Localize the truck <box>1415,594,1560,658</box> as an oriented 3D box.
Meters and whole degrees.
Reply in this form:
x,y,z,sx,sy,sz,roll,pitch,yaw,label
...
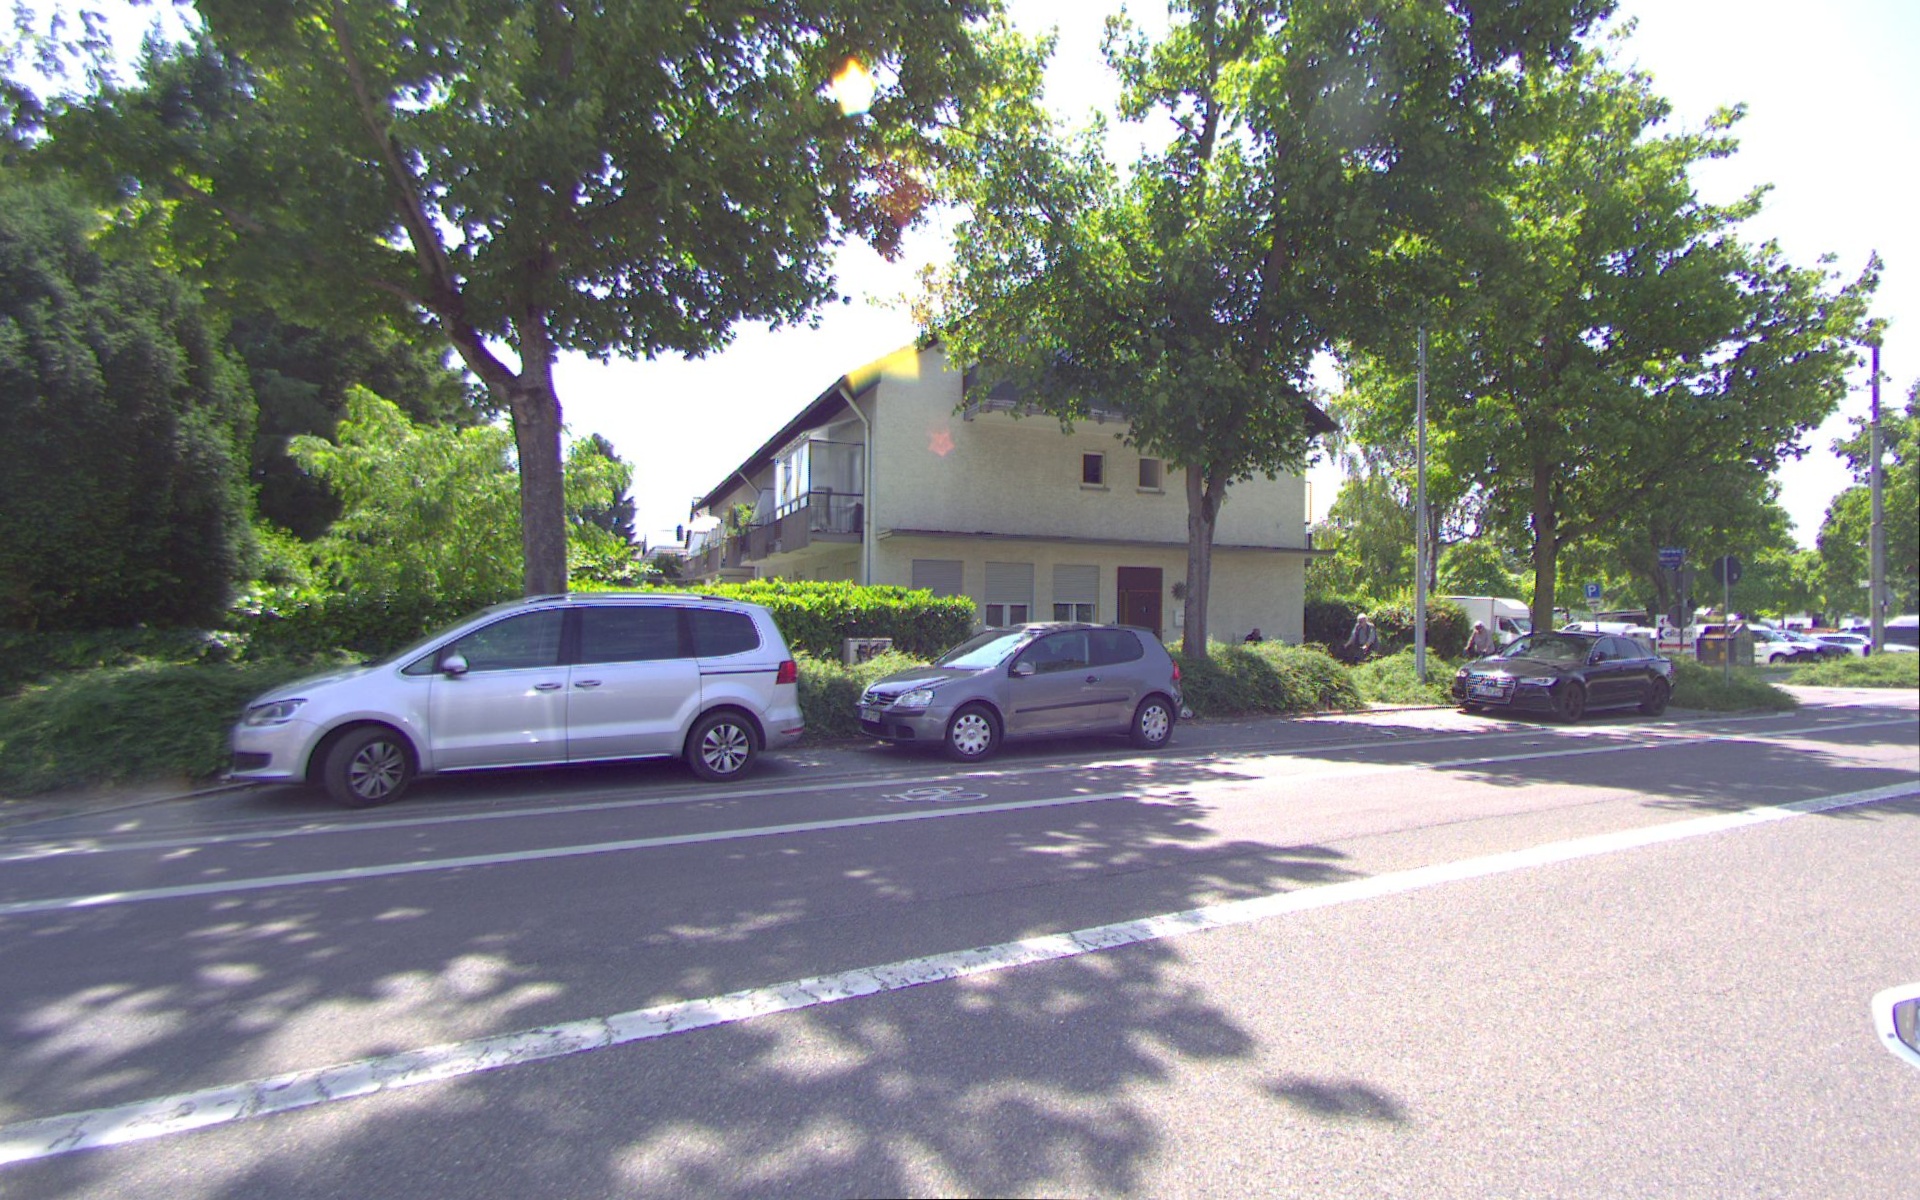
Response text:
x,y,z,sx,sy,sz,roll,pitch,yaw,label
28.597,1.350,54.815,2.126,3.270,6.942,1,0,-31,truck

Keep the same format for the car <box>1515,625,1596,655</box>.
x,y,z,sx,sy,sz,roll,pitch,yaw,label
34.950,2.315,59.028,1.712,1.597,3.729,1,0,-30,car

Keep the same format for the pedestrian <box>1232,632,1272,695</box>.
x,y,z,sx,sy,sz,roll,pitch,yaw,label
7.342,1.582,25.242,0.599,1.530,0.792,1,-1,-23,pedestrian

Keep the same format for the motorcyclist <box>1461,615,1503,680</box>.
x,y,z,sx,sy,sz,roll,pitch,yaw,label
12.691,1.147,24.440,0.654,1.523,0.584,1,2,-29,motorcyclist

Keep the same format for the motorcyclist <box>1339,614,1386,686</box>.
x,y,z,sx,sy,sz,roll,pitch,yaw,label
8.935,1.098,22.298,0.716,1.523,0.584,1,2,-29,motorcyclist

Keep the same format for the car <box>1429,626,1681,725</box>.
x,y,z,sx,sy,sz,roll,pitch,yaw,label
10.563,1.238,17.732,4.757,1.476,1.883,1,0,-33,car

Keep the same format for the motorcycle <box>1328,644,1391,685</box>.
x,y,z,sx,sy,sz,roll,pitch,yaw,label
8.867,1.422,22.285,1.354,0.837,0.523,1,2,-29,motorcycle

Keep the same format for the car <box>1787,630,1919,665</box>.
x,y,z,sx,sy,sz,roll,pitch,yaw,label
43.151,2.252,48.404,2.034,1.508,4.738,1,-1,-30,car

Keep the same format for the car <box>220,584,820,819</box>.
x,y,z,sx,sy,sz,roll,pitch,yaw,label
-3.832,0.773,9.316,4.632,1.711,1.962,1,0,-30,car

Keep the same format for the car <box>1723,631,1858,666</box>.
x,y,z,sx,sy,sz,roll,pitch,yaw,label
36.481,2.103,44.228,2.059,1.422,4.171,1,-1,-33,car

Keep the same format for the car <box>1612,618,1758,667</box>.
x,y,z,sx,sy,sz,roll,pitch,yaw,label
29.485,1.693,40.973,2.040,1.881,4.420,1,-1,-34,car

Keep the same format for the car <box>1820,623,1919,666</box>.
x,y,z,sx,sy,sz,roll,pitch,yaw,label
45.446,2.175,49.588,1.835,2.021,4.189,1,-1,-30,car

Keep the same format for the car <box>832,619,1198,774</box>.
x,y,z,sx,sy,sz,roll,pitch,yaw,label
0.709,1.022,11.860,4.080,1.506,1.668,1,0,-31,car

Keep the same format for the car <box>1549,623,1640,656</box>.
x,y,z,sx,sy,sz,roll,pitch,yaw,label
37.476,2.309,59.431,1.948,1.845,4.108,1,-1,-30,car

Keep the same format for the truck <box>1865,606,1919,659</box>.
x,y,z,sx,sy,sz,roll,pitch,yaw,label
52.288,1.757,53.537,2.402,2.796,5.556,1,-1,-28,truck

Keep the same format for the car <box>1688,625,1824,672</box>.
x,y,z,sx,sy,sz,roll,pitch,yaw,label
33.828,2.026,42.808,1.651,1.860,4.251,1,-1,-27,car
